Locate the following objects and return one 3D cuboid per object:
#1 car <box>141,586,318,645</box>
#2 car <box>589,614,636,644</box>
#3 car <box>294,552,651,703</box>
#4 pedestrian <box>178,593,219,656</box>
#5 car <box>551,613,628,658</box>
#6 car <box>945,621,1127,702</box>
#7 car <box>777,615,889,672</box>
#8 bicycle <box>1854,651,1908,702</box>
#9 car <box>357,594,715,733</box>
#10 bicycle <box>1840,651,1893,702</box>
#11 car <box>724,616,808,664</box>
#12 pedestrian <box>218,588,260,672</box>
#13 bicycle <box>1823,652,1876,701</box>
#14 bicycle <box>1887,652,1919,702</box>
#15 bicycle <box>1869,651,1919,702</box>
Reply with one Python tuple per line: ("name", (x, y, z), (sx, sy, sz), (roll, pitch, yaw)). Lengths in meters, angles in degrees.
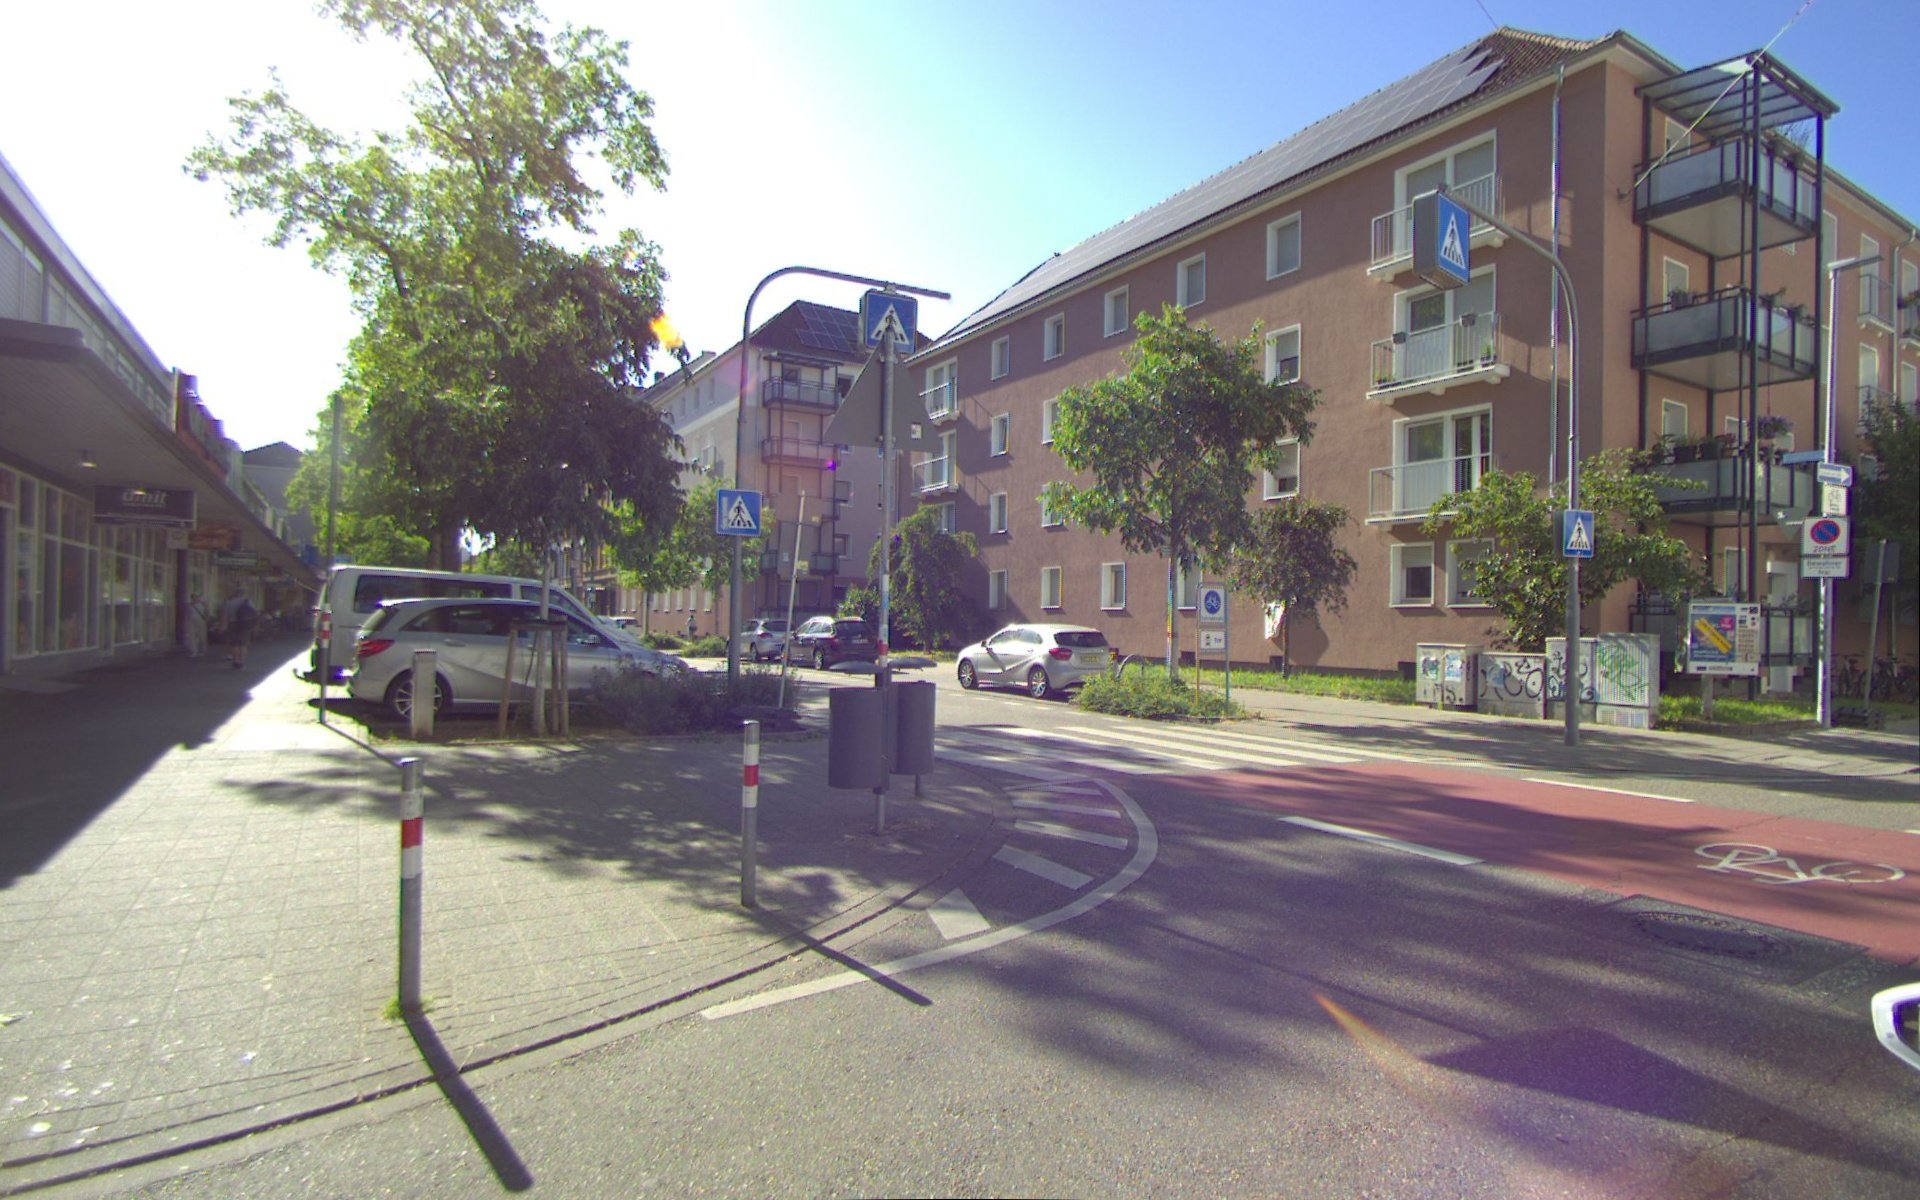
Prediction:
("car", (-27.063, 0.621, 37.474), (5.173, 2.007, 1.647), (2, -2, -33))
("car", (-18.928, 1.544, 54.600), (1.725, 1.539, 3.827), (2, -1, -30))
("car", (-7.471, 0.502, 15.620), (4.696, 2.032, 1.942), (4, -2, -34))
("pedestrian", (-18.882, 0.608, 24.926), (0.681, 1.542, 0.528), (3, -2, -30))
("car", (-13.294, 1.243, 35.867), (1.892, 1.473, 4.543), (3, -2, -29))
("car", (1.476, 1.207, 20.970), (1.726, 1.473, 4.120), (2, -1, -31))
("car", (-3.843, 1.249, 29.841), (1.768, 1.539, 4.274), (2, -1, -30))
("bicycle", (20.941, 1.733, 22.854), (0.248, 1.085, 1.217), (1, -1, 8))
("car", (-5.703, 0.807, 13.685), (4.257, 1.634, 1.743), (2, -1, -33))
("bicycle", (20.649, 1.721, 22.907), (0.261, 1.086, 1.217), (1, -1, 8))
("car", (-6.830, 1.362, 35.105), (1.725, 1.539, 3.827), (2, -1, -30))
("pedestrian", (-14.895, 0.618, 20.766), (0.560, 1.688, 0.707), (3, -2, -29))
("bicycle", (20.317, 1.742, 22.953), (0.285, 1.049, 1.217), (1, -1, 8))
("bicycle", (21.482, 1.739, 22.612), (0.248, 1.086, 1.220), (1, -1, 8))
("bicycle", (21.230, 1.731, 22.805), (0.248, 1.086, 1.217), (1, -1, 8))
